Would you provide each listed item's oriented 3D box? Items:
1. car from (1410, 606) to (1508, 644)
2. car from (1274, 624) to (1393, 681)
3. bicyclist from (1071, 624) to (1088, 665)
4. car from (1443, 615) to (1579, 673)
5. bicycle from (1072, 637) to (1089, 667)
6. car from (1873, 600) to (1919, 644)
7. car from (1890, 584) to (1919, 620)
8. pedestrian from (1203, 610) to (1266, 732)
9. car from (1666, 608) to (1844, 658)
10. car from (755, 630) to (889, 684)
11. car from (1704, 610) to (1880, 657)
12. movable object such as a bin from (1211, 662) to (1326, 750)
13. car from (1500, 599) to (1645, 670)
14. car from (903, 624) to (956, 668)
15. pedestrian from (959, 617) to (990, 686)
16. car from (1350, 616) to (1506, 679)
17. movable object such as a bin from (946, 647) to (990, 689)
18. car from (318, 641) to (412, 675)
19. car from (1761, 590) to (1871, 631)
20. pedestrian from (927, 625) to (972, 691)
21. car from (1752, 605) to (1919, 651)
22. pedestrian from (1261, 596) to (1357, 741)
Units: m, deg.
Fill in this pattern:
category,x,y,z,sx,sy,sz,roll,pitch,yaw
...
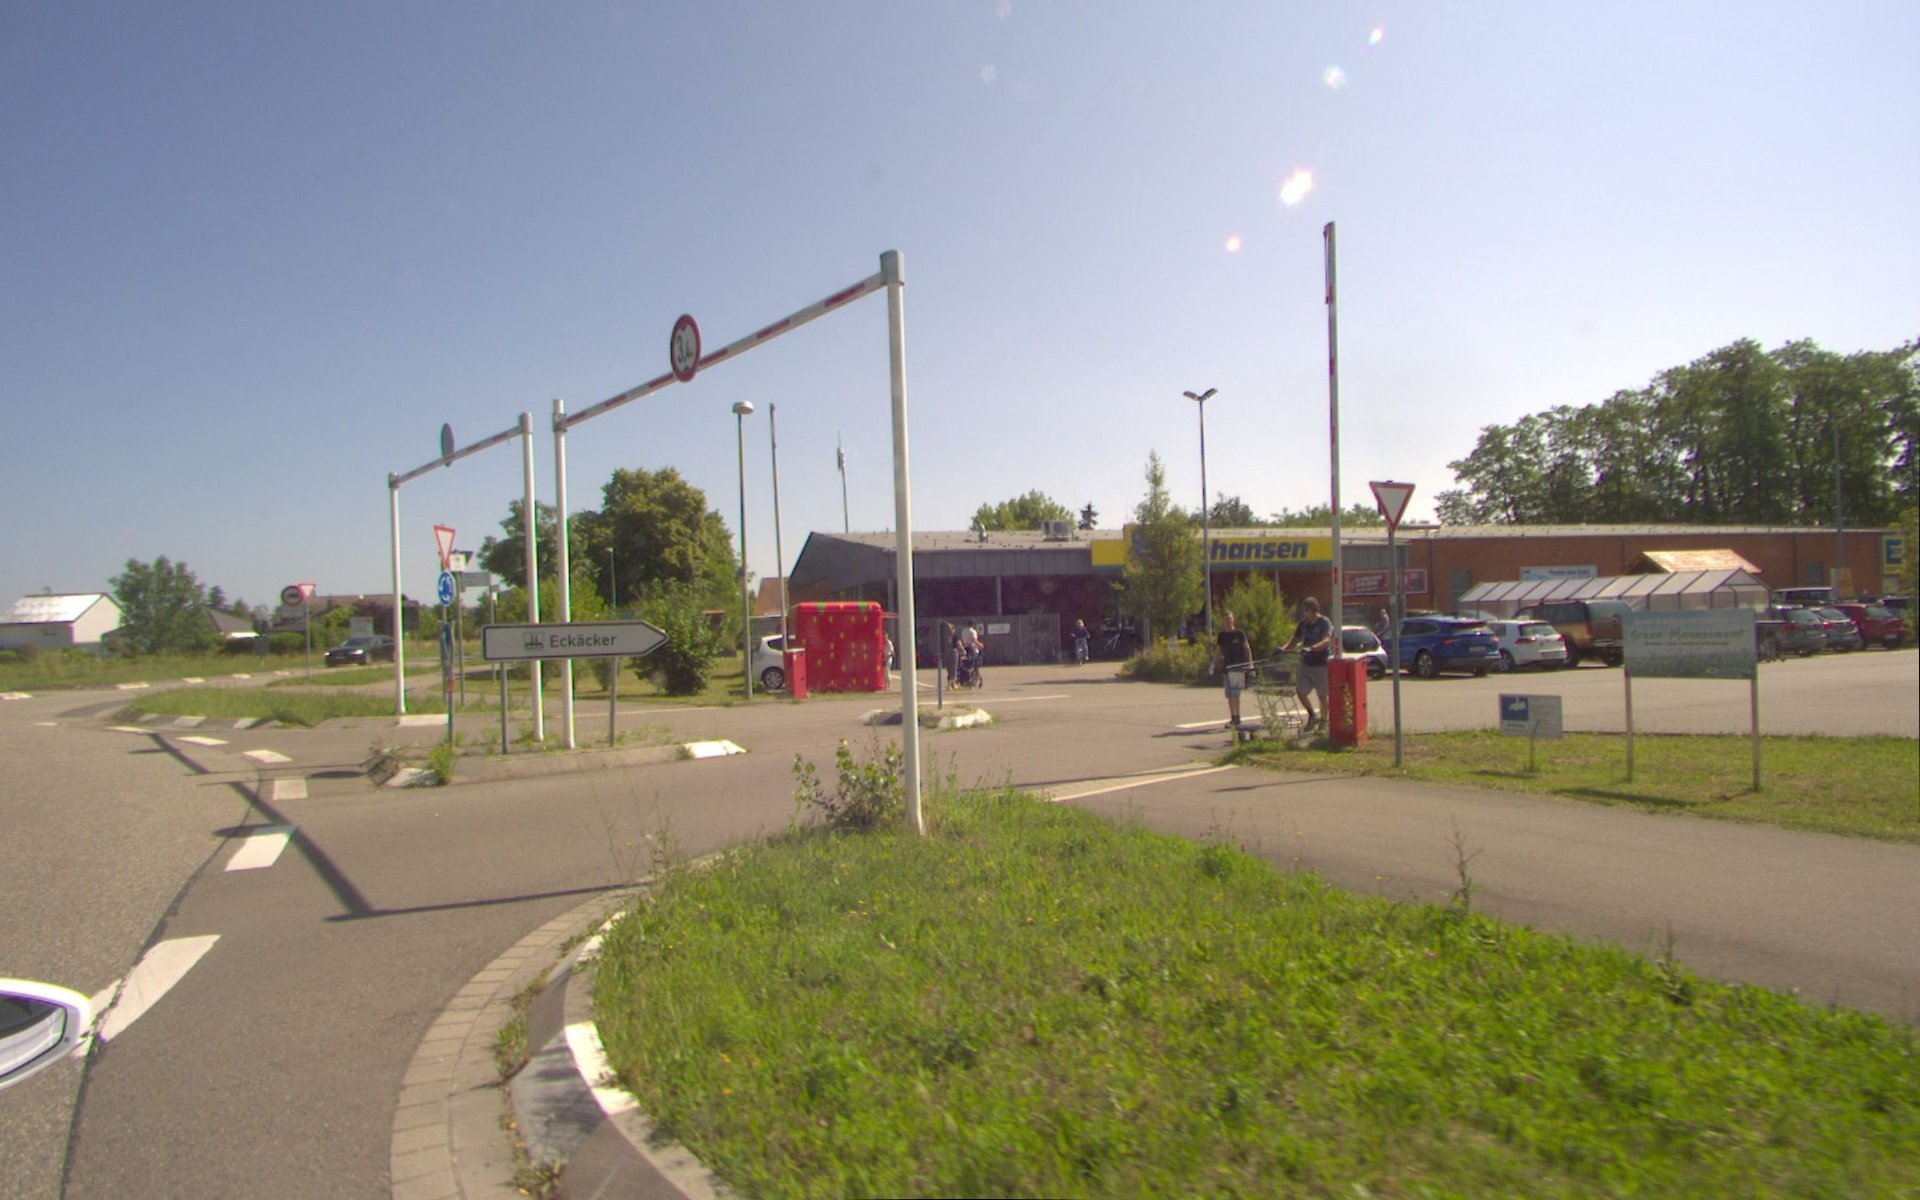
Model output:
category,x,y,z,sx,sy,sz,roll,pitch,yaw
car,23.820,1.192,47.955,1.965,1.705,3.993,-1,-1,-18
car,10.369,1.428,28.060,1.683,1.476,3.492,-1,-1,-7
bicyclist,4.549,1.697,38.127,0.595,1.534,0.677,-1,0,4
car,15.694,1.242,28.725,1.683,1.517,3.492,-1,-2,-7
bicycle,4.545,1.941,37.817,0.543,1.055,2.076,-1,-1,4
car,33.883,0.729,33.870,1.933,1.505,3.995,-1,-1,-16
car,55.450,0.099,56.470,1.962,2.039,3.998,-1,-1,-11
pedestrian,3.867,0.984,14.092,0.694,1.669,0.593,-1,-1,33
car,24.725,1.021,31.343,1.946,1.438,3.996,-1,-2,-14
car,-4.007,1.618,28.910,3.701,1.465,1.725,0,-1,-11
car,27.009,1.096,32.674,1.964,1.393,3.995,-1,-2,-16
movable object such as a bin,3.844,1.284,12.462,1.191,0.967,0.872,0,-1,-43
car,17.983,1.011,29.591,1.843,1.953,3.492,-1,-1,-7
car,-1.185,1.761,38.553,1.795,1.656,1.130,-1,-1,-13
pedestrian,0.396,1.433,27.977,0.824,1.895,0.774,-1,-1,1
car,12.868,1.287,27.860,1.684,1.591,4.427,-1,-2,-10
movable object such as a bin,0.216,1.785,26.461,0.756,1.060,1.037,-2,-1,27
car,-29.877,2.879,50.469,1.886,1.452,4.914,-4,-1,-3
car,44.948,0.574,52.691,1.963,2.039,3.997,-1,-1,-13
pedestrian,-0.269,1.475,25.578,0.802,1.640,0.923,-1,-1,27
car,29.231,0.934,33.562,1.684,1.416,3.996,-1,-2,-14
pedestrian,4.580,0.869,13.146,0.833,1.808,0.873,0,-1,-41
